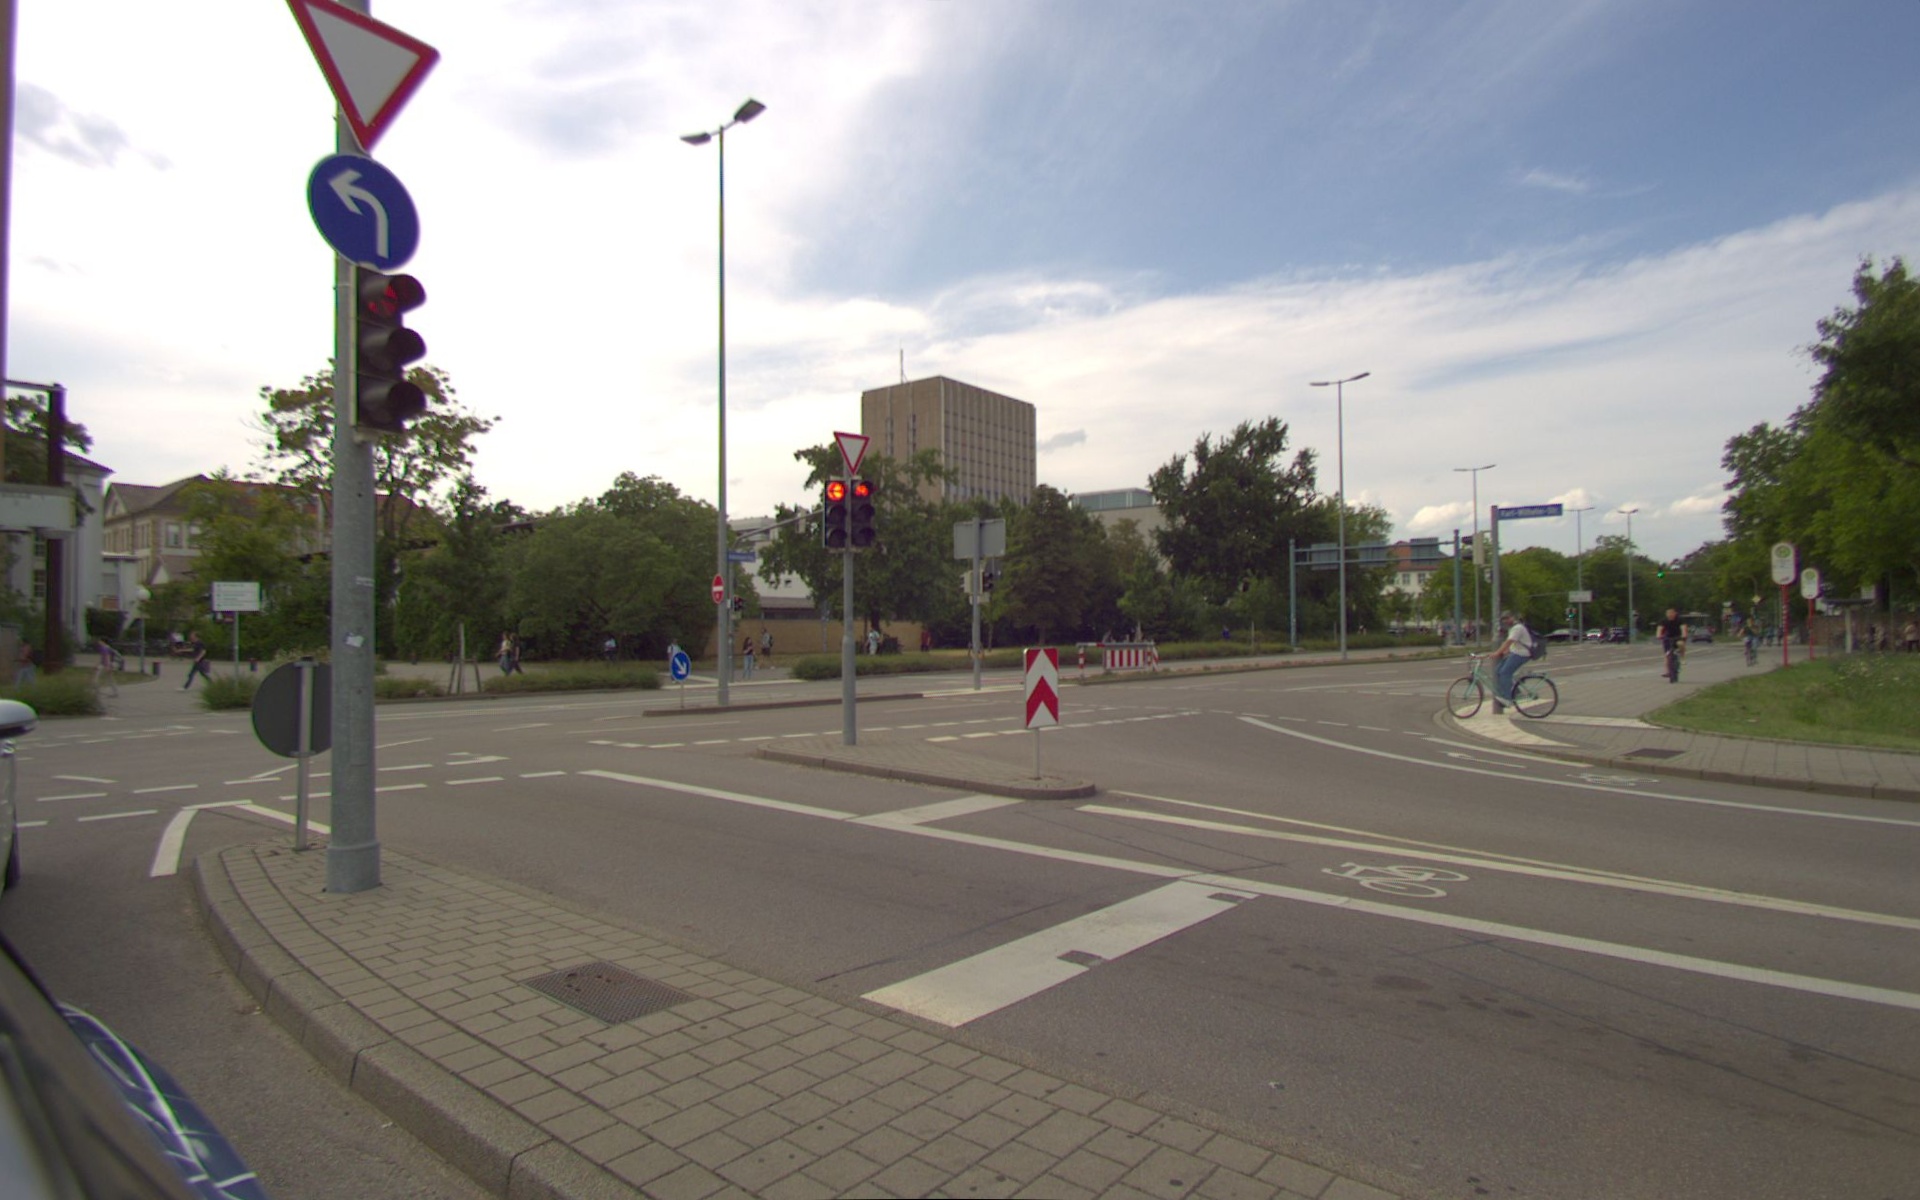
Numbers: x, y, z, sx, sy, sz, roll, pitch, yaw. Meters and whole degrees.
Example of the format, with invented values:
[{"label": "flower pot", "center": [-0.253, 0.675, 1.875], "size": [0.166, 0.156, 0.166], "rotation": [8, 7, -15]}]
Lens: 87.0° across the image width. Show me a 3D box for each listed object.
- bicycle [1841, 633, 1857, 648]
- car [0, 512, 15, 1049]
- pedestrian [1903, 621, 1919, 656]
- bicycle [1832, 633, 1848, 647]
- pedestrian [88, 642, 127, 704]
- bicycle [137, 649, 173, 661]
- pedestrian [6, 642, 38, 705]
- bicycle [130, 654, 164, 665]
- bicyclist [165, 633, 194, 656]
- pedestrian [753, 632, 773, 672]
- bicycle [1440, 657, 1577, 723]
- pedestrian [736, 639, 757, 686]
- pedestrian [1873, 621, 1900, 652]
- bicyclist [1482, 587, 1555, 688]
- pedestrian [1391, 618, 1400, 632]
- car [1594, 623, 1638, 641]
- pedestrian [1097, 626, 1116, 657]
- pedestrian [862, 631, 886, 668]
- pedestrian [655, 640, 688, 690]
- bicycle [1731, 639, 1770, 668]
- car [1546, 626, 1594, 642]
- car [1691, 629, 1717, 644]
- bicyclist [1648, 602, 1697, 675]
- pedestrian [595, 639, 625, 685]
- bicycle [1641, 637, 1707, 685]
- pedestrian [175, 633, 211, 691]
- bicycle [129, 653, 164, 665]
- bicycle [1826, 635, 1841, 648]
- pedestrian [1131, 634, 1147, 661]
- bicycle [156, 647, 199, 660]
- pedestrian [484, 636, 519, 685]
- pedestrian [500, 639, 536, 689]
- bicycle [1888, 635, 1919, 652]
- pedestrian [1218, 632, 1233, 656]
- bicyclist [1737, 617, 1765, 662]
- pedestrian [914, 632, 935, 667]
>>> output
[{"label": "bicycle", "center": [58.236, 2.648, 66.326], "size": [0.432, 0.894, 1.559], "rotation": [-6, -5, 31]}, {"label": "car", "center": [-5.364, 0.720, 4.259], "size": [4.529, 1.747, 1.799], "rotation": [-5, -4, 44]}, {"label": "pedestrian", "center": [45.015, 1.796, 47.523], "size": [0.749, 1.634, 0.661], "rotation": [-3, -3, 19]}, {"label": "bicycle", "center": [59.005, 2.695, 67.865], "size": [0.432, 0.894, 1.559], "rotation": [-6, -5, 31]}, {"label": "pedestrian", "center": [-24.312, 2.075, 28.850], "size": [0.788, 1.724, 0.840], "rotation": [1, -4, -44]}, {"label": "bicycle", "center": [-51.825, 3.552, 65.132], "size": [1.816, 0.699, 0.653], "rotation": [0, -4, -40]}, {"label": "pedestrian", "center": [-26.095, 2.042, 28.141], "size": [0.624, 1.724, 0.674], "rotation": [1, -4, -44]}, {"label": "bicycle", "center": [-55.234, 4.028, 68.761], "size": [1.816, 0.699, 0.653], "rotation": [0, -4, -40]}, {"label": "bicyclist", "center": [-44.576, 2.541, 57.802], "size": [0.834, 1.287, 1.005], "rotation": [-4, -3, 22]}, {"label": "pedestrian", "center": [-8.494, 2.236, 43.632], "size": [0.544, 1.709, 0.686], "rotation": [0, -1, 39]}, {"label": "bicycle", "center": [8.872, 1.448, 16.392], "size": [1.942, 0.943, 0.506], "rotation": [-2, -1, -4]}, {"label": "pedestrian", "center": [-7.895, 2.302, 37.401], "size": [0.579, 1.724, 0.482], "rotation": [1, -4, -42]}, {"label": "pedestrian", "center": [49.673, 1.950, 54.289], "size": [0.749, 1.634, 0.661], "rotation": [-3, -3, 19]}, {"label": "bicyclist", "center": [9.056, 0.603, 16.428], "size": [0.786, 1.567, 0.580], "rotation": [-2, -1, -4]}, {"label": "pedestrian", "center": [53.288, 3.088, 123.813], "size": [0.769, 1.724, 0.685], "rotation": [-5, -4, 42]}, {"label": "car", "center": [61.818, 2.992, 95.416], "size": [1.768, 1.501, 4.121], "rotation": [0, 0, 7]}, {"label": "pedestrian", "center": [8.407, 2.399, 57.986], "size": [0.683, 1.724, 0.735], "rotation": [1, -4, -44]}, {"label": "pedestrian", "center": [-4.069, 2.361, 47.998], "size": [0.841, 1.724, 0.686], "rotation": [-5, -4, 39]}, {"label": "pedestrian", "center": [-10.273, 2.307, 36.088], "size": [0.827, 1.724, 0.801], "rotation": [0, -4, -42]}, {"label": "bicycle", "center": [28.270, 1.902, 36.175], "size": [1.939, 0.943, 0.507], "rotation": [-2, -1, -34]}, {"label": "car", "center": [62.614, 3.469, 103.969], "size": [1.759, 1.501, 4.142], "rotation": [1, 0, -17]}, {"label": "car", "center": [82.041, 3.977, 111.568], "size": [1.701, 1.492, 4.352], "rotation": [-5, -4, 43]}, {"label": "bicyclist", "center": [15.777, 0.852, 22.406], "size": [0.784, 1.567, 0.581], "rotation": [-2, -1, -34]}, {"label": "pedestrian", "center": [-13.481, 2.366, 38.974], "size": [0.714, 1.724, 0.789], "rotation": [-5, -4, 39]}, {"label": "bicycle", "center": [15.879, 1.330, 22.495], "size": [1.939, 0.943, 0.507], "rotation": [-2, -1, -34]}, {"label": "pedestrian", "center": [-23.432, 1.909, 30.930], "size": [0.788, 1.724, 0.840], "rotation": [1, -4, -44]}, {"label": "bicycle", "center": [-54.102, 3.906, 67.293], "size": [1.816, 0.699, 0.653], "rotation": [0, -4, -40]}, {"label": "bicycle", "center": [59.963, 2.832, 69.473], "size": [0.432, 0.894, 1.559], "rotation": [-6, -5, 31]}, {"label": "pedestrian", "center": [11.567, 3.089, 65.382], "size": [0.714, 1.724, 0.685], "rotation": [-5, -4, 42]}, {"label": "bicycle", "center": [-44.602, 3.037, 57.705], "size": [0.837, 0.699, 1.832], "rotation": [-3, -3, 20]}, {"label": "pedestrian", "center": [-16.491, 2.181, 36.422], "size": [0.835, 1.724, 0.792], "rotation": [-4, -3, 27]}, {"label": "pedestrian", "center": [-15.731, 2.267, 36.015], "size": [0.835, 1.724, 0.792], "rotation": [-4, -3, 27]}, {"label": "bicycle", "center": [52.015, 2.394, 55.779], "size": [0.657, 0.894, 1.564], "rotation": [-5, -4, 22]}, {"label": "pedestrian", "center": [19.573, 3.253, 74.551], "size": [0.714, 1.724, 0.685], "rotation": [-5, -4, 42]}, {"label": "bicyclist", "center": [28.345, 1.400, 36.256], "size": [0.784, 1.567, 0.496], "rotation": [-2, -1, -34]}, {"label": "pedestrian", "center": [-1.782, 2.462, 50.322], "size": [0.714, 1.724, 0.685], "rotation": [-5, -4, 42]}]
